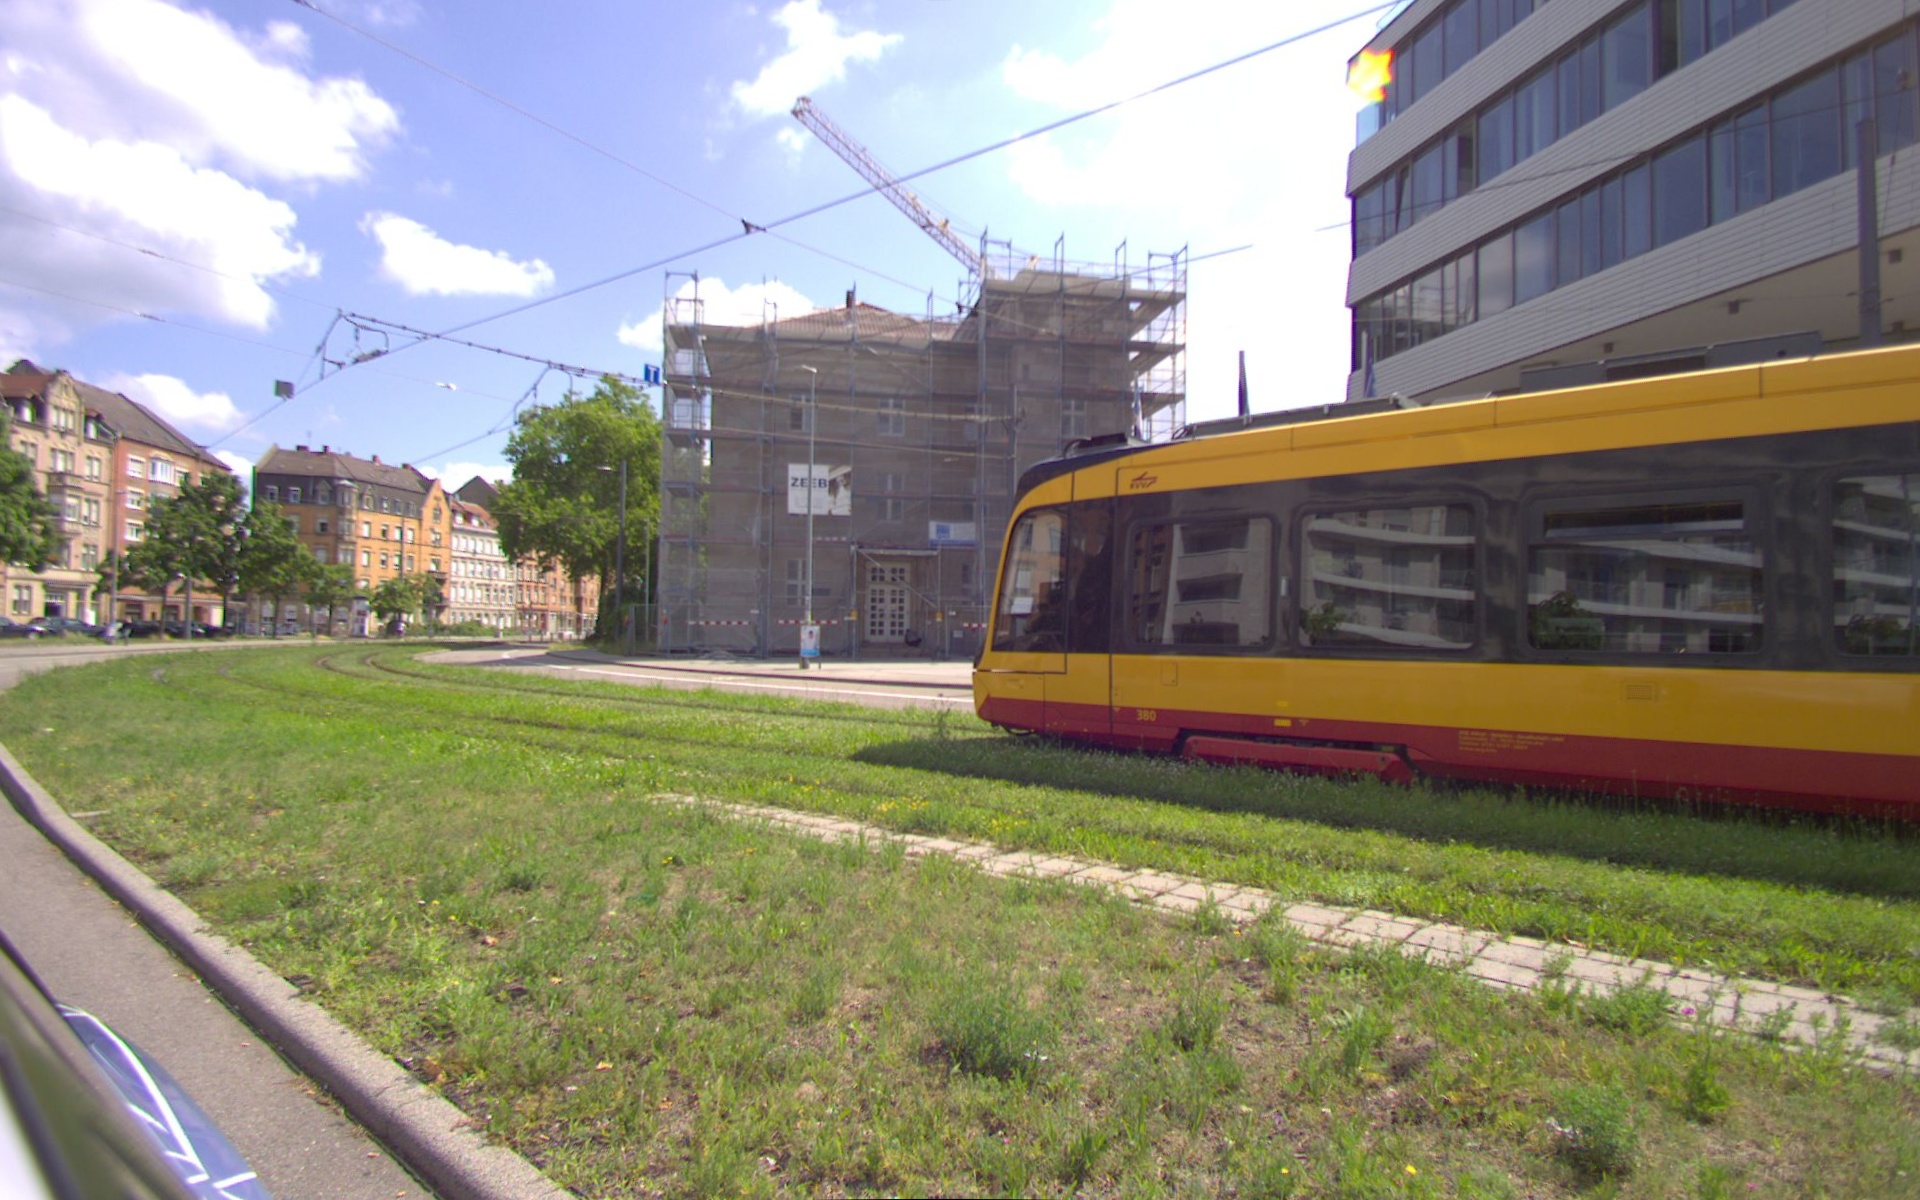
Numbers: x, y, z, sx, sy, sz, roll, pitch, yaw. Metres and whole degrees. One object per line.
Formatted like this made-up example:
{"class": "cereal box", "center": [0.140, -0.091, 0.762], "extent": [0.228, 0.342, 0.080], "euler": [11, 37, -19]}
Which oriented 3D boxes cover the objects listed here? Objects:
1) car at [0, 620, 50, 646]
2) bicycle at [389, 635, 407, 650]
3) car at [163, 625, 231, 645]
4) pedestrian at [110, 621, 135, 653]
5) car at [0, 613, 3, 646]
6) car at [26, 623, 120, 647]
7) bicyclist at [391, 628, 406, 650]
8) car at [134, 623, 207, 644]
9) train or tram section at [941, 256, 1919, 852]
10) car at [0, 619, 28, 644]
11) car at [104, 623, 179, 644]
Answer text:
{"class": "car", "center": [-53.354, 1.845, 56.078], "extent": [1.853, 1.391, 4.208], "euler": [-2, -2, 43]}
{"class": "bicycle", "center": [-49.792, 3.762, 89.656], "extent": [0.685, 1.251, 1.842], "euler": [6, -4, -7]}
{"class": "car", "center": [-57.110, 2.609, 75.859], "extent": [3.932, 1.364, 1.967], "euler": [0, -2, -33]}
{"class": "pedestrian", "center": [-47.128, 2.079, 56.955], "extent": [0.691, 1.717, 1.047], "euler": [1, 1, -12]}
{"class": "car", "center": [-52.489, 1.535, 52.280], "extent": [1.853, 1.754, 4.303], "euler": [-2, -2, 43]}
{"class": "car", "center": [-54.617, 2.115, 62.350], "extent": [1.853, 1.391, 4.208], "euler": [-2, -2, 43]}
{"class": "bicyclist", "center": [-49.774, 3.474, 89.723], "extent": [0.686, 1.838, 0.958], "euler": [6, -4, -7]}
{"class": "car", "center": [-56.498, 2.379, 72.470], "extent": [3.939, 1.391, 1.963], "euler": [1, -2, -43]}
{"class": "train or tram section", "center": [5.894, -0.199, 8.199], "extent": [13.495, 3.627, 3.182], "euler": [-1, -4, 42]}
{"class": "car", "center": [-64.069, 2.100, 66.618], "extent": [1.808, 1.628, 4.505], "euler": [0, -1, -10]}
{"class": "car", "center": [-56.052, 2.298, 69.377], "extent": [3.935, 1.391, 1.965], "euler": [1, -2, -38]}
